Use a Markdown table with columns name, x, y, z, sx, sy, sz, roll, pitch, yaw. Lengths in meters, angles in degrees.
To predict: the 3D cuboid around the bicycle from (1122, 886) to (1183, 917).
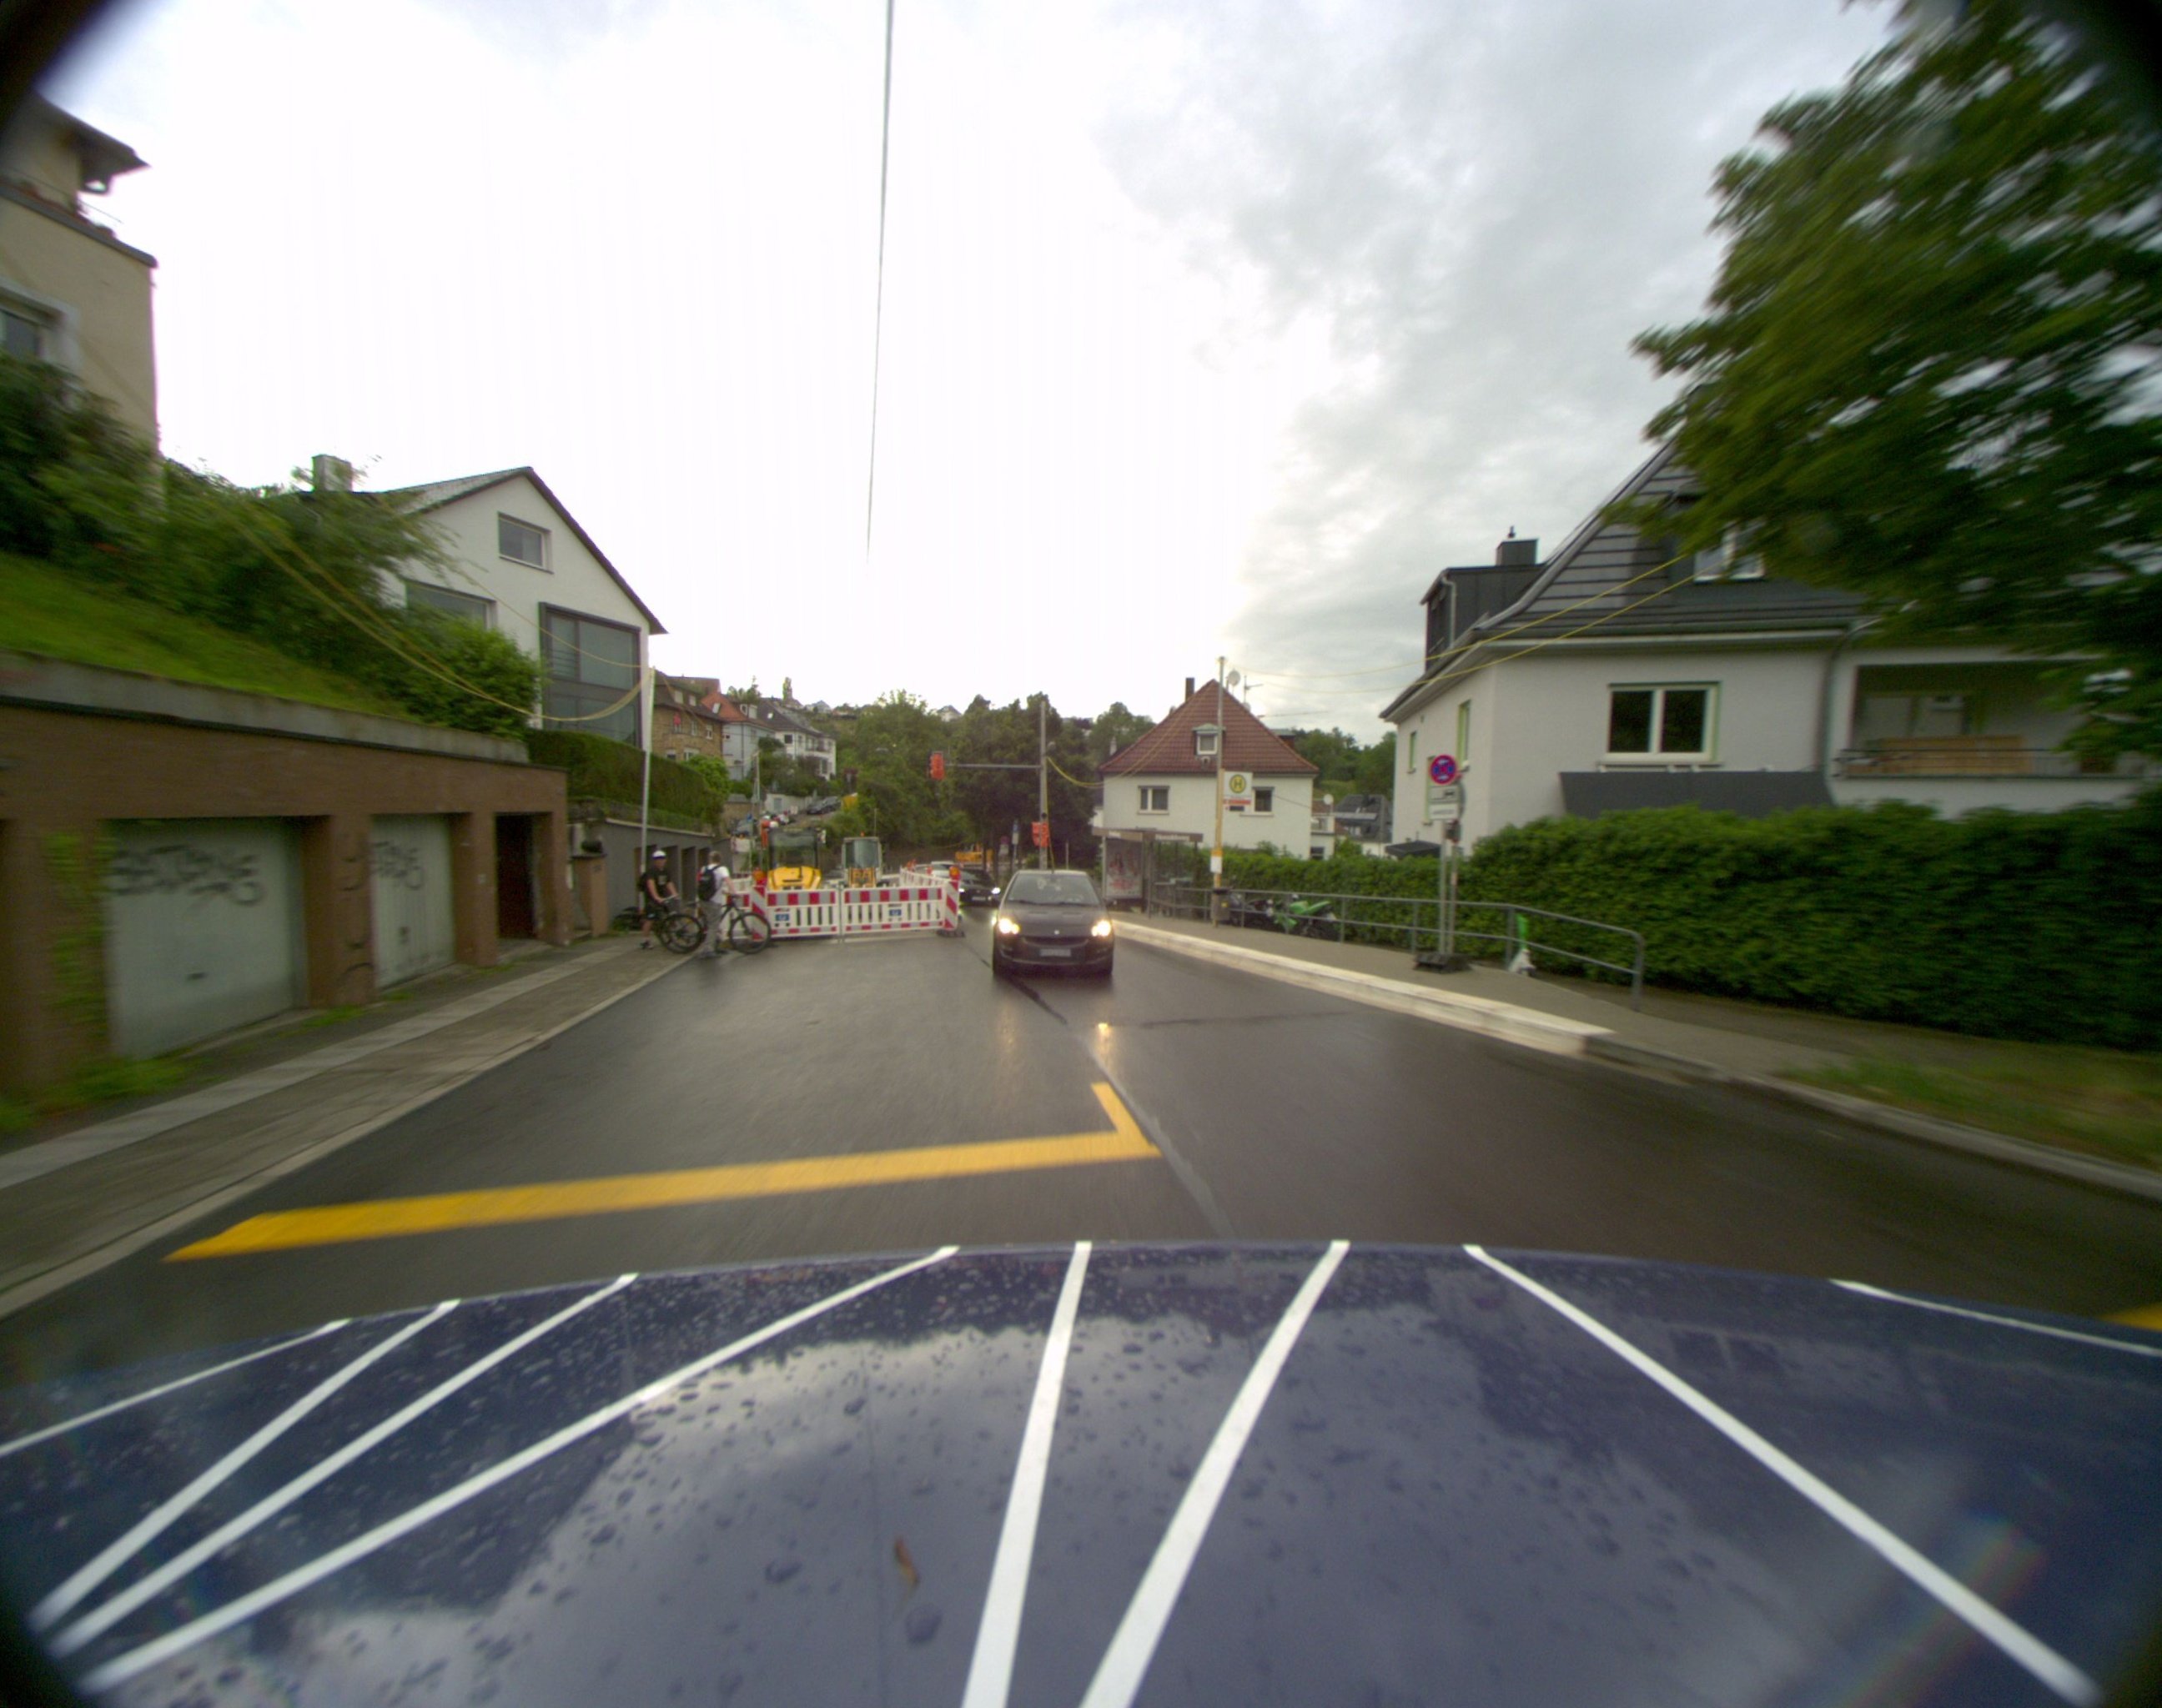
| name | x | y | z | sx | sy | sz | roll | pitch | yaw |
| --- | --- | --- | --- | --- | --- | --- | --- | --- | --- |
| bicycle | 2.469 | 1.632 | 26.362 | 1.877 | 0.926 | 1.096 | 2 | 0 | -8 |

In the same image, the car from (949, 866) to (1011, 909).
| name | x | y | z | sx | sy | sz | roll | pitch | yaw |
| --- | --- | --- | --- | --- | --- | --- | --- | --- | --- |
| car | -4.110 | 1.286 | 30.285 | 1.846 | 1.395 | 4.064 | 2 | 1 | -16 |

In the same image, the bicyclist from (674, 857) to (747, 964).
| name | x | y | z | sx | sy | sz | roll | pitch | yaw |
| --- | --- | --- | --- | --- | --- | --- | --- | --- | --- |
| bicyclist | -6.281 | 0.923 | 12.927 | 1.078 | 1.718 | 0.931 | 0 | 1 | -25 |

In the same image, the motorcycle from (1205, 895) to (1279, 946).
| name | x | y | z | sx | sy | sz | roll | pitch | yaw |
| --- | --- | --- | --- | --- | --- | --- | --- | --- | --- |
| motorcycle | 3.751 | 1.529 | 17.911 | 0.669 | 1.030 | 2.149 | 2 | -1 | -19 |

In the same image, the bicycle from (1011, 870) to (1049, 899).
| name | x | y | z | sx | sy | sz | roll | pitch | yaw |
| --- | --- | --- | --- | --- | --- | --- | --- | --- | --- |
| bicycle | -2.359 | 1.404 | 35.128 | 1.698 | 1.337 | 0.418 | 0 | -1 | -21 |

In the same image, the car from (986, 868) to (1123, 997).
| name | x | y | z | sx | sy | sz | roll | pitch | yaw |
| --- | --- | --- | --- | --- | --- | --- | --- | --- | --- |
| car | -0.627 | 1.054 | 12.054 | 1.675 | 1.457 | 4.711 | 2 | 1 | -8 |

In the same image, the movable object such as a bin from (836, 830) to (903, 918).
| name | x | y | z | sx | sy | sz | roll | pitch | yaw |
| --- | --- | --- | --- | --- | --- | --- | --- | --- | --- |
| movable object such as a bin | -7.774 | 0.590 | 27.900 | 2.095 | 2.822 | 5.666 | 1 | 2 | -16 |

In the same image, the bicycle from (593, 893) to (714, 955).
| name | x | y | z | sx | sy | sz | roll | pitch | yaw |
| --- | --- | --- | --- | --- | --- | --- | --- | --- | --- |
| bicycle | -7.756 | 1.241 | 13.803 | 1.825 | 0.975 | 0.934 | 1 | 1 | 18 |

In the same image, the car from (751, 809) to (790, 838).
| name | x | y | z | sx | sy | sz | roll | pitch | yaw |
| --- | --- | --- | --- | --- | --- | --- | --- | --- | --- |
| car | -28.895 | -2.879 | 70.961 | 1.900 | 2.069 | 4.421 | 3 | 9 | -2 |

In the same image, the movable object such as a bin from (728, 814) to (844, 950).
| name | x | y | z | sx | sy | sz | roll | pitch | yaw |
| --- | --- | --- | --- | --- | --- | --- | --- | --- | --- |
| movable object such as a bin | -7.034 | 0.628 | 18.724 | 2.095 | 2.821 | 5.669 | 1 | -1 | -16 |

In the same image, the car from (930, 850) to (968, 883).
| name | x | y | z | sx | sy | sz | roll | pitch | yaw |
| --- | --- | --- | --- | --- | --- | --- | --- | --- | --- |
| car | -7.648 | 0.699 | 44.179 | 2.002 | 1.699 | 4.569 | 2 | 1 | -9 |

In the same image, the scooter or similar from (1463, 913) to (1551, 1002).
| name | x | y | z | sx | sy | sz | roll | pitch | yaw |
| --- | --- | --- | --- | --- | --- | --- | --- | --- | --- |
| scooter or similar | 5.861 | 1.401 | 10.502 | 0.325 | 1.074 | 1.094 | 3 | -1 | -18 |

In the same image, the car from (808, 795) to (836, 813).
| name | x | y | z | sx | sy | sz | roll | pitch | yaw |
| --- | --- | --- | --- | --- | --- | --- | --- | --- | --- |
| car | -29.261 | -5.674 | 85.858 | 1.860 | 1.629 | 3.956 | 3 | 10 | -2 |

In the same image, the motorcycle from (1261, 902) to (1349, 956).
| name | x | y | z | sx | sy | sz | roll | pitch | yaw |
| --- | --- | --- | --- | --- | --- | --- | --- | --- | --- |
| motorcycle | 4.556 | 1.515 | 15.612 | 0.669 | 0.928 | 2.007 | 2 | -1 | -19 |

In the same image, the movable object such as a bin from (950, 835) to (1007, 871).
| name | x | y | z | sx | sy | sz | roll | pitch | yaw |
| --- | --- | --- | --- | --- | --- | --- | --- | --- | --- |
| movable object such as a bin | -11.456 | -0.136 | 85.529 | 3.324 | 3.817 | 7.214 | 2 | 1 | 20 |

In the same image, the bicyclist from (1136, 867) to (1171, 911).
| name | x | y | z | sx | sy | sz | roll | pitch | yaw |
| --- | --- | --- | --- | --- | --- | --- | --- | --- | --- |
| bicyclist | 2.494 | 1.194 | 26.357 | 0.909 | 1.430 | 1.096 | 2 | 0 | -8 |

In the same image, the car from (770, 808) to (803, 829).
| name | x | y | z | sx | sy | sz | roll | pitch | yaw |
| --- | --- | --- | --- | --- | --- | --- | --- | --- | --- |
| car | -29.095 | -3.551 | 75.210 | 1.860 | 1.628 | 3.957 | 3 | 9 | -2 |

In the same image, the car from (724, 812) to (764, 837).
| name | x | y | z | sx | sy | sz | roll | pitch | yaw |
| --- | --- | --- | --- | --- | --- | --- | --- | --- | --- |
| car | -28.995 | -2.553 | 65.510 | 1.860 | 1.628 | 3.826 | 3 | 9 | -2 |

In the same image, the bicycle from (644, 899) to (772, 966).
| name | x | y | z | sx | sy | sz | roll | pitch | yaw |
| --- | --- | --- | --- | --- | --- | --- | --- | --- | --- |
| bicycle | -6.298 | 1.307 | 12.929 | 1.887 | 0.975 | 0.931 | 0 | 1 | -25 |

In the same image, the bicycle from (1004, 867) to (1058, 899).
| name | x | y | z | sx | sy | sz | roll | pitch | yaw |
| --- | --- | --- | --- | --- | --- | --- | --- | --- | --- |
| bicycle | -2.277 | 1.330 | 34.539 | 2.239 | 1.354 | 0.808 | 2 | 1 | -22 |

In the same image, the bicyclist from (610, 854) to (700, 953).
| name | x | y | z | sx | sy | sz | roll | pitch | yaw |
| --- | --- | --- | --- | --- | --- | --- | --- | --- | --- |
| bicyclist | -7.702 | 0.858 | 13.775 | 1.074 | 1.718 | 0.934 | 1 | 1 | 18 |
